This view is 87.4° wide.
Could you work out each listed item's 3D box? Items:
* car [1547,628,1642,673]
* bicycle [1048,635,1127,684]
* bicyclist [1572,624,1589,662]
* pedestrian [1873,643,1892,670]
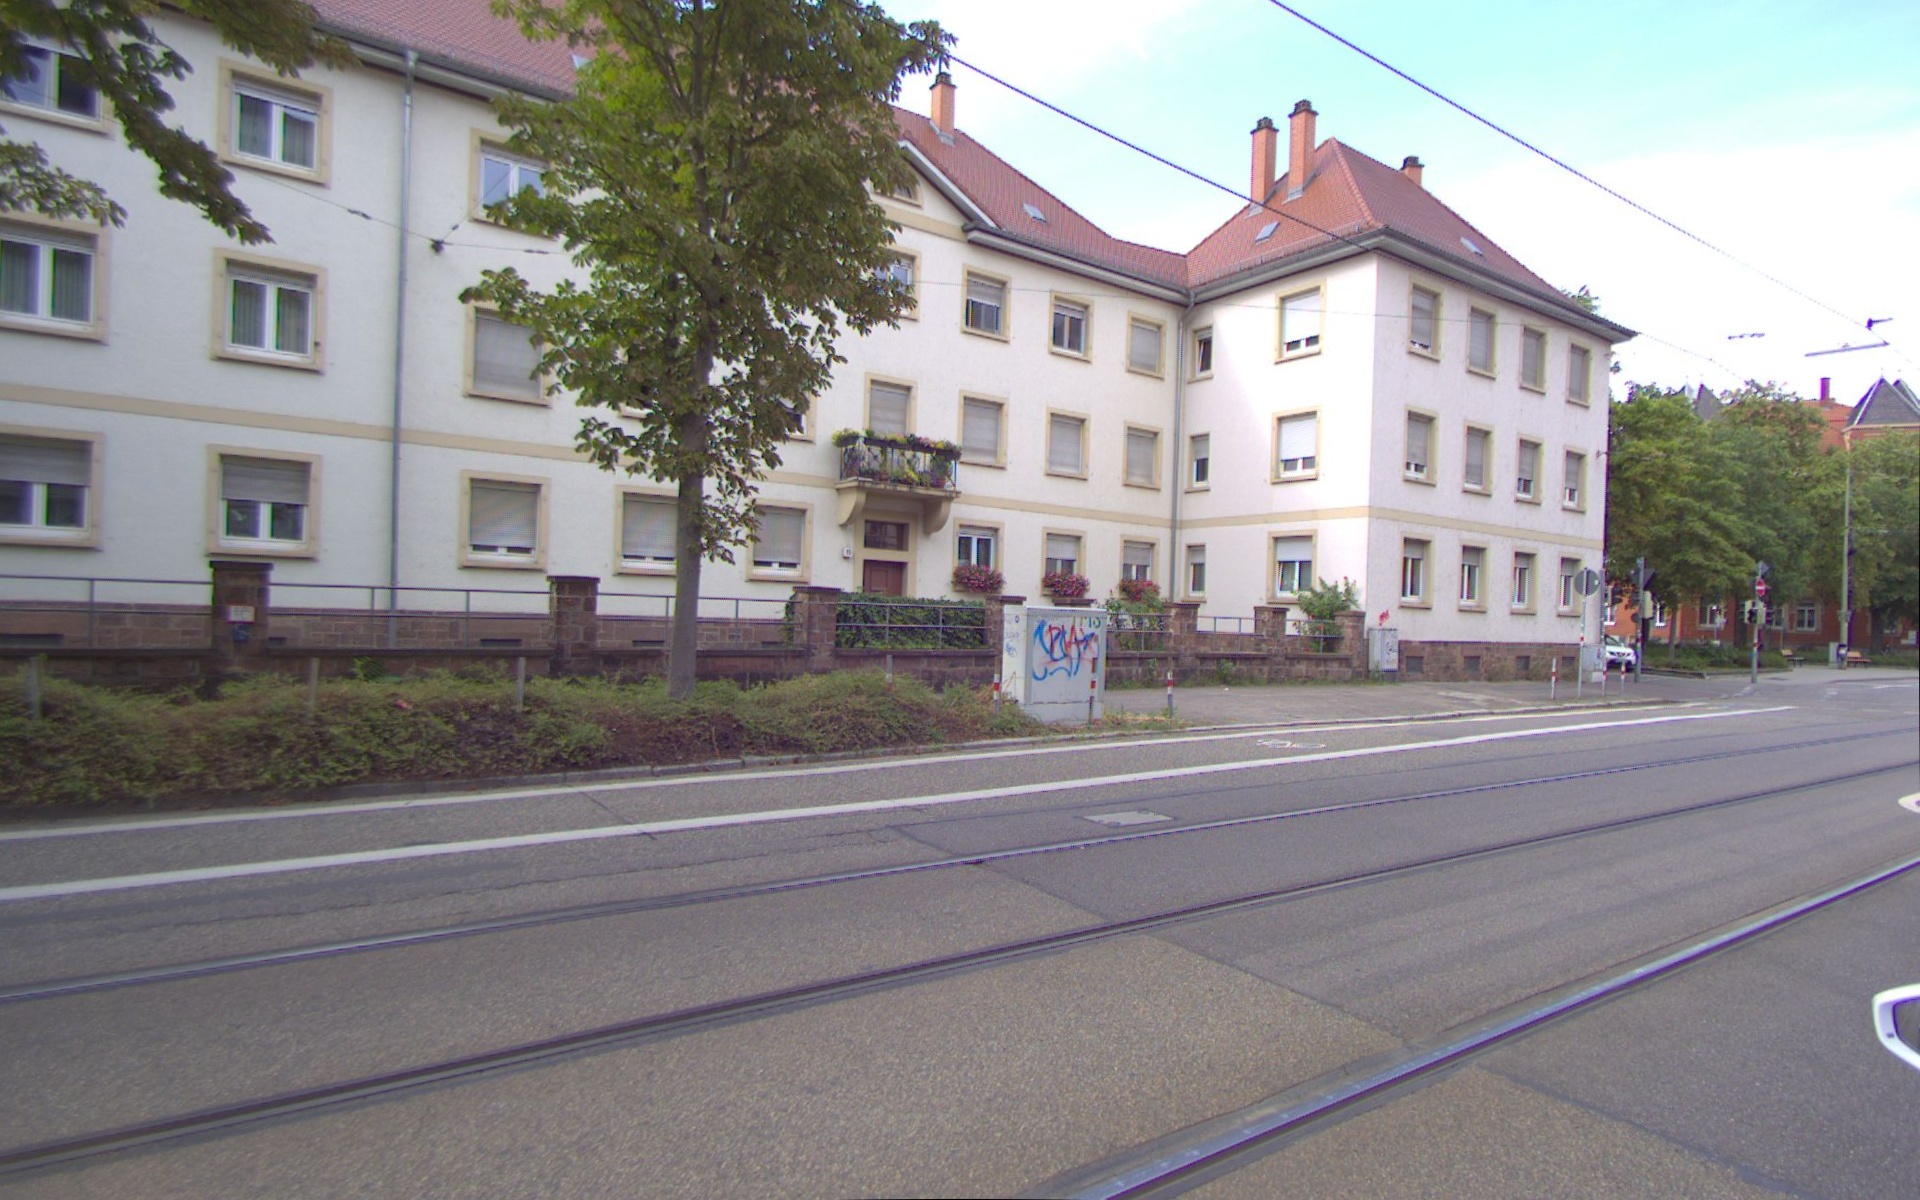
[{"bbox_3d":[27.725,2.218,44.044,1.804,1.743,4.163,3,-3,6],"label":"car"},{"bbox_3d":[2.566,1.191,20.111,1.655,0.927,0.474,2,-1,-34],"label":"bicycle"},{"bbox_3d":[30.074,2.077,48.678,0.601,1.799,0.910,1,-1,28],"label":"bicyclist"},{"bbox_3d":[62.026,3.800,67.534,0.726,1.725,0.826,2,-1,-39],"label":"pedestrian"}]
